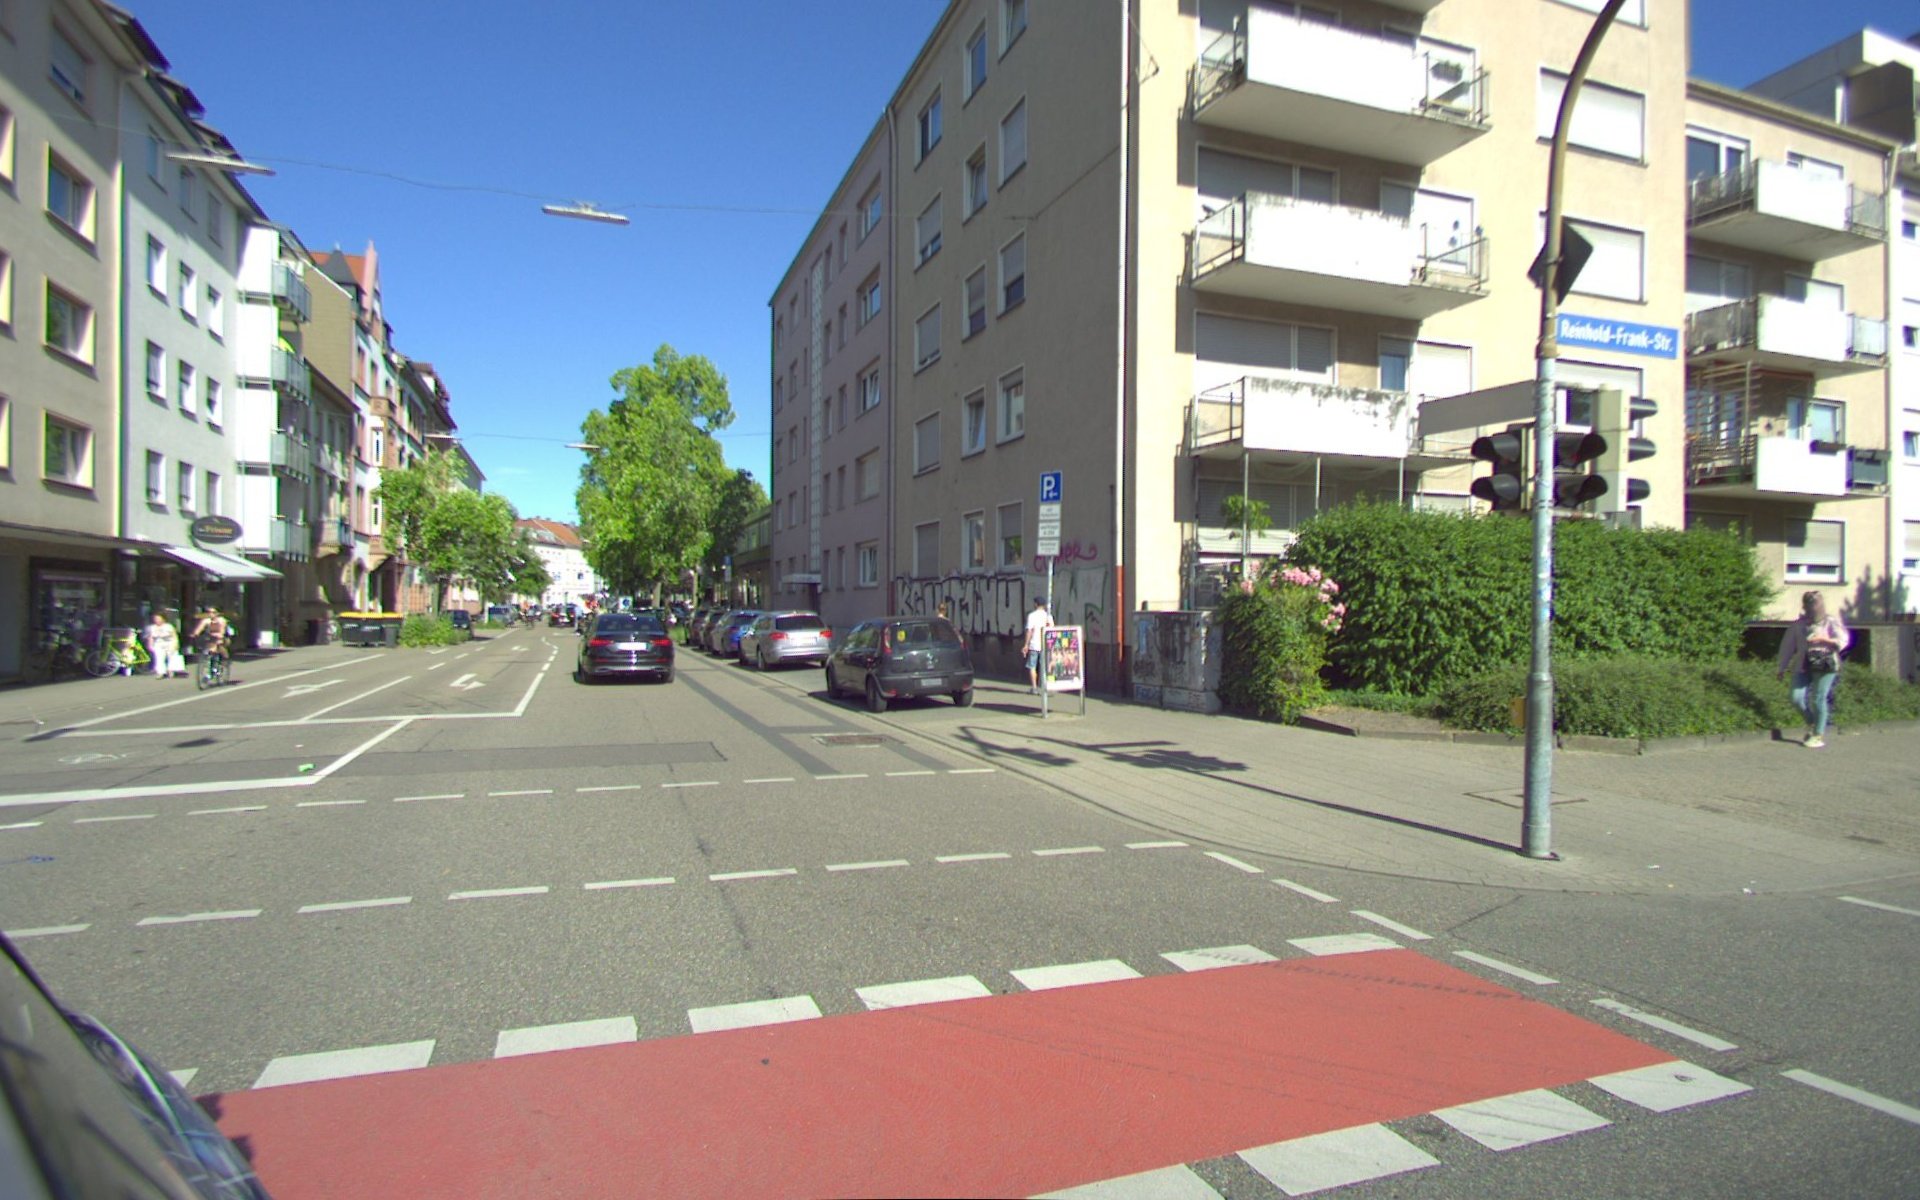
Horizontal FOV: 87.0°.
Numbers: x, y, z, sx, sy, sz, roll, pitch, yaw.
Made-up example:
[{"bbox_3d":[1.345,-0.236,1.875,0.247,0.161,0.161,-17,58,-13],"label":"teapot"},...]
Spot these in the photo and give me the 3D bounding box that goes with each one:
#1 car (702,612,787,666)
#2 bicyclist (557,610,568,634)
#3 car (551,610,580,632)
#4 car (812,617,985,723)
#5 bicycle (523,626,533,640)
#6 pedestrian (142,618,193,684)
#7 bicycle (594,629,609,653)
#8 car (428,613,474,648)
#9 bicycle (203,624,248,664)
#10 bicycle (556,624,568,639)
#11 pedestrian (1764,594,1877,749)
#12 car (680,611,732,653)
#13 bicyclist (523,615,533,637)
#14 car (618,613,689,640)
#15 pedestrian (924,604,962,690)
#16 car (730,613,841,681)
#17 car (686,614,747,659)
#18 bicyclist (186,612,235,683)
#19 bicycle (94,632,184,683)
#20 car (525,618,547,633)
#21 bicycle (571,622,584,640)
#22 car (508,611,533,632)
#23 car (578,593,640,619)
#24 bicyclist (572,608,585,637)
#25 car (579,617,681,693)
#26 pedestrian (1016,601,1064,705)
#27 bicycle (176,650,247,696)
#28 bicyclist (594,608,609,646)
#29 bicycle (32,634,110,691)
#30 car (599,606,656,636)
[{"bbox_3d":[-6.944,1.187,32.283,1.797,1.514,4.817,-2,0,-22],"label":"car"},{"bbox_3d":[-26.769,1.461,68.180,0.670,1.588,0.902,2,-2,-20],"label":"bicyclist"},{"bbox_3d":[-28.442,1.480,72.927,1.879,1.564,4.013,0,-1,-21],"label":"car"},{"bbox_3d":[-1.138,1.039,16.673,1.667,1.459,3.869,-2,0,-22],"label":"car"},{"bbox_3d":[-28.103,2.129,65.846,0.535,0.909,1.832,0,-1,-21],"label":"bicycle"},{"bbox_3d":[-17.836,1.143,22.784,0.762,1.453,0.627,1,-1,-25],"label":"pedestrian"},{"bbox_3d":[-14.226,1.610,40.146,0.535,0.909,1.832,0,-1,-21],"label":"bicycle"},{"bbox_3d":[-24.396,1.451,48.590,1.600,1.608,3.558,0,-1,-21],"label":"car"},{"bbox_3d":[-22.136,1.307,30.536,0.588,1.152,1.780,3,-2,-20],"label":"bicycle"},{"bbox_3d":[-26.781,2.101,68.134,0.670,0.959,1.940,2,-1,-21],"label":"bicycle"},{"bbox_3d":[9.329,0.750,10.988,0.637,1.608,0.699,0,-1,-22],"label":"pedestrian"},{"bbox_3d":[-10.609,1.284,42.072,1.699,1.588,4.171,-2,0,-19],"label":"car"},{"bbox_3d":[-28.042,1.672,65.712,0.535,1.402,0.791,0,-1,-20],"label":"bicyclist"},{"bbox_3d":[-17.886,1.526,59.073,3.931,1.564,1.919,0,-1,-18],"label":"car"},{"bbox_3d":[-0.324,0.879,19.169,0.524,1.593,0.564,0,-1,-25],"label":"pedestrian"},{"bbox_3d":[-4.617,1.131,26.176,1.797,1.514,4.817,-2,0,-22],"label":"car"},{"bbox_3d":[-8.942,1.290,36.955,1.699,1.478,4.171,-2,0,-19],"label":"car"},{"bbox_3d":[-14.953,0.942,20.201,0.573,1.387,0.666,0,-1,-16],"label":"bicyclist"},{"bbox_3d":[-18.898,1.302,23.322,0.722,1.115,1.476,-1,-1,37],"label":"bicycle"},{"bbox_3d":[-38.446,2.323,91.729,1.601,1.287,3.558,0,-1,-19],"label":"car"},{"bbox_3d":[-21.973,1.771,58.135,0.670,0.959,1.940,0,-1,-21],"label":"bicycle"},{"bbox_3d":[-33.800,1.624,77.884,1.600,1.608,3.558,0,-1,-21],"label":"car"},{"bbox_3d":[-33.979,0.589,97.931,5.465,2.411,1.985,0,-1,-25],"label":"car"},{"bbox_3d":[-22.004,1.302,58.357,0.670,1.643,0.902,0,-1,-21],"label":"bicyclist"},{"bbox_3d":[-7.120,1.099,21.586,1.779,1.423,4.440,2,-1,-21],"label":"car"},{"bbox_3d":[1.341,0.866,16.988,0.565,1.701,0.671,0,-1,-22],"label":"pedestrian"},{"bbox_3d":[-14.984,1.451,20.290,0.573,0.812,1.714,0,-1,-16],"label":"bicycle"},{"bbox_3d":[-14.270,1.069,40.281,0.535,1.532,0.776,0,-1,-21],"label":"bicyclist"},{"bbox_3d":[-18.337,1.271,20.918,0.401,1.093,1.805,3,-2,-16],"label":"bicycle"},{"bbox_3d":[-23.686,1.467,72.046,3.812,2.058,1.919,0,-1,-18],"label":"car"}]
